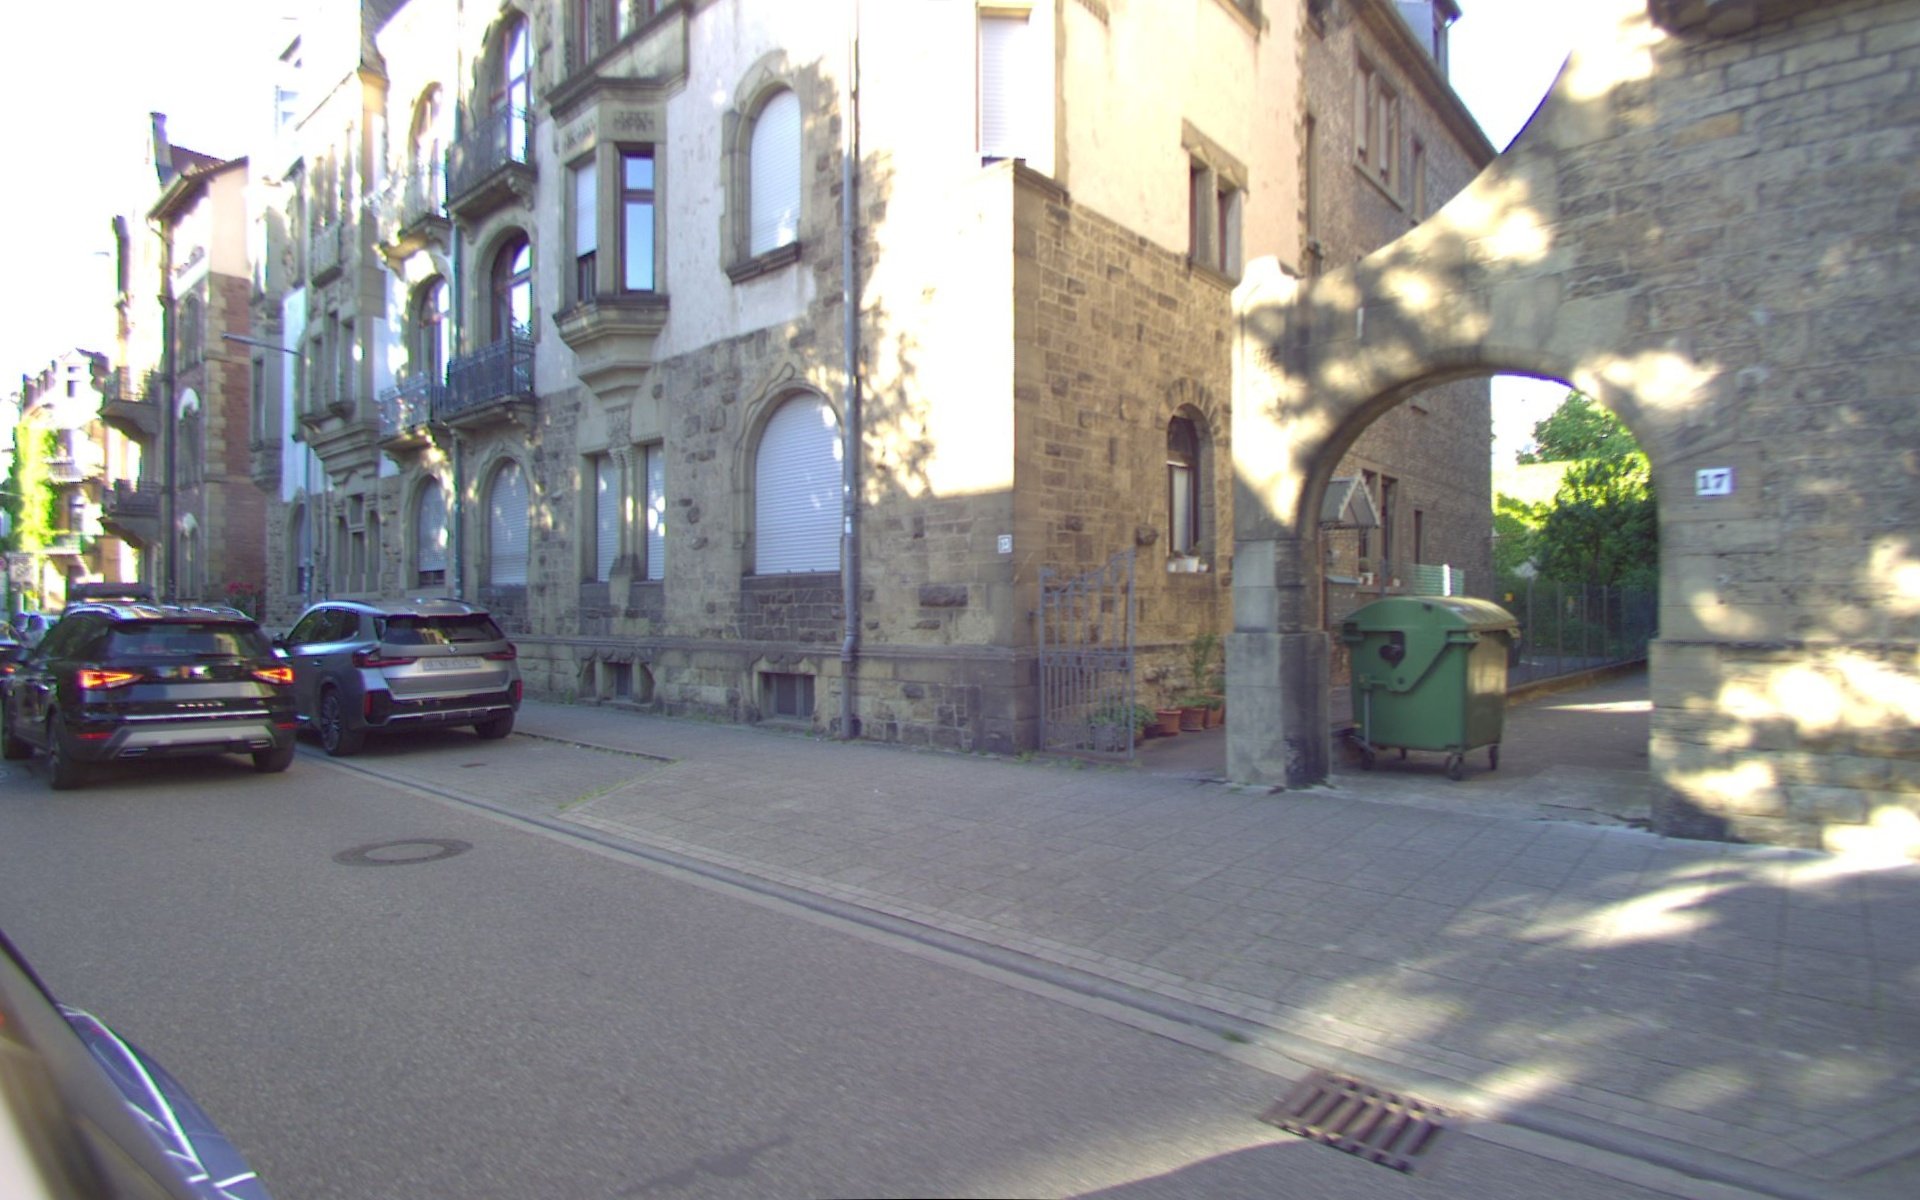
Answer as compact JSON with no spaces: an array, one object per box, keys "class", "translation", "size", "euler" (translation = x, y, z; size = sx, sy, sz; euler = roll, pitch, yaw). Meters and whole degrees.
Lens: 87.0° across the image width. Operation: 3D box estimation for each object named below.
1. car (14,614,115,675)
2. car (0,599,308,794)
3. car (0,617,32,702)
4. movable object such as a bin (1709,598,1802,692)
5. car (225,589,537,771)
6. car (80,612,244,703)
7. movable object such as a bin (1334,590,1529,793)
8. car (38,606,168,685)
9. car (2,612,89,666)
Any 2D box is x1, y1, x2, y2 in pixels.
[{"class":"car","translation":[-24.586,1.213,27.751],"size":[3.854,1.458,1.612],"euler":[-3,1,42]},{"class":"car","translation":[-7.770,0.788,9.556],"size":[3.756,1.489,1.610],"euler":[-1,-3,39]},{"class":"car","translation":[-19.184,1.068,19.129],"size":[4.565,1.474,1.844],"euler":[0,-1,40]},{"class":"movable object such as a bin","translation":[13.349,0.720,16.981],"size":[1.173,1.489,1.180],"euler":[0,0,41]},{"class":"car","translation":[-6.854,0.794,11.785],"size":[4.337,1.730,1.856],"euler":[-1,-1,41]},{"class":"car","translation":[-15.579,1.028,19.683],"size":[4.210,1.512,1.751],"euler":[1,0,41]},{"class":"movable object such as a bin","translation":[3.856,0.668,8.268],"size":[1.173,1.489,1.180],"euler":[0,0,41]},{"class":"car","translation":[-20.437,1.004,24.082],"size":[4.210,1.680,1.751],"euler":[0,0,41]},{"class":"car","translation":[-28.717,1.221,31.739],"size":[3.854,1.516,1.612],"euler":[-3,1,42]}]
